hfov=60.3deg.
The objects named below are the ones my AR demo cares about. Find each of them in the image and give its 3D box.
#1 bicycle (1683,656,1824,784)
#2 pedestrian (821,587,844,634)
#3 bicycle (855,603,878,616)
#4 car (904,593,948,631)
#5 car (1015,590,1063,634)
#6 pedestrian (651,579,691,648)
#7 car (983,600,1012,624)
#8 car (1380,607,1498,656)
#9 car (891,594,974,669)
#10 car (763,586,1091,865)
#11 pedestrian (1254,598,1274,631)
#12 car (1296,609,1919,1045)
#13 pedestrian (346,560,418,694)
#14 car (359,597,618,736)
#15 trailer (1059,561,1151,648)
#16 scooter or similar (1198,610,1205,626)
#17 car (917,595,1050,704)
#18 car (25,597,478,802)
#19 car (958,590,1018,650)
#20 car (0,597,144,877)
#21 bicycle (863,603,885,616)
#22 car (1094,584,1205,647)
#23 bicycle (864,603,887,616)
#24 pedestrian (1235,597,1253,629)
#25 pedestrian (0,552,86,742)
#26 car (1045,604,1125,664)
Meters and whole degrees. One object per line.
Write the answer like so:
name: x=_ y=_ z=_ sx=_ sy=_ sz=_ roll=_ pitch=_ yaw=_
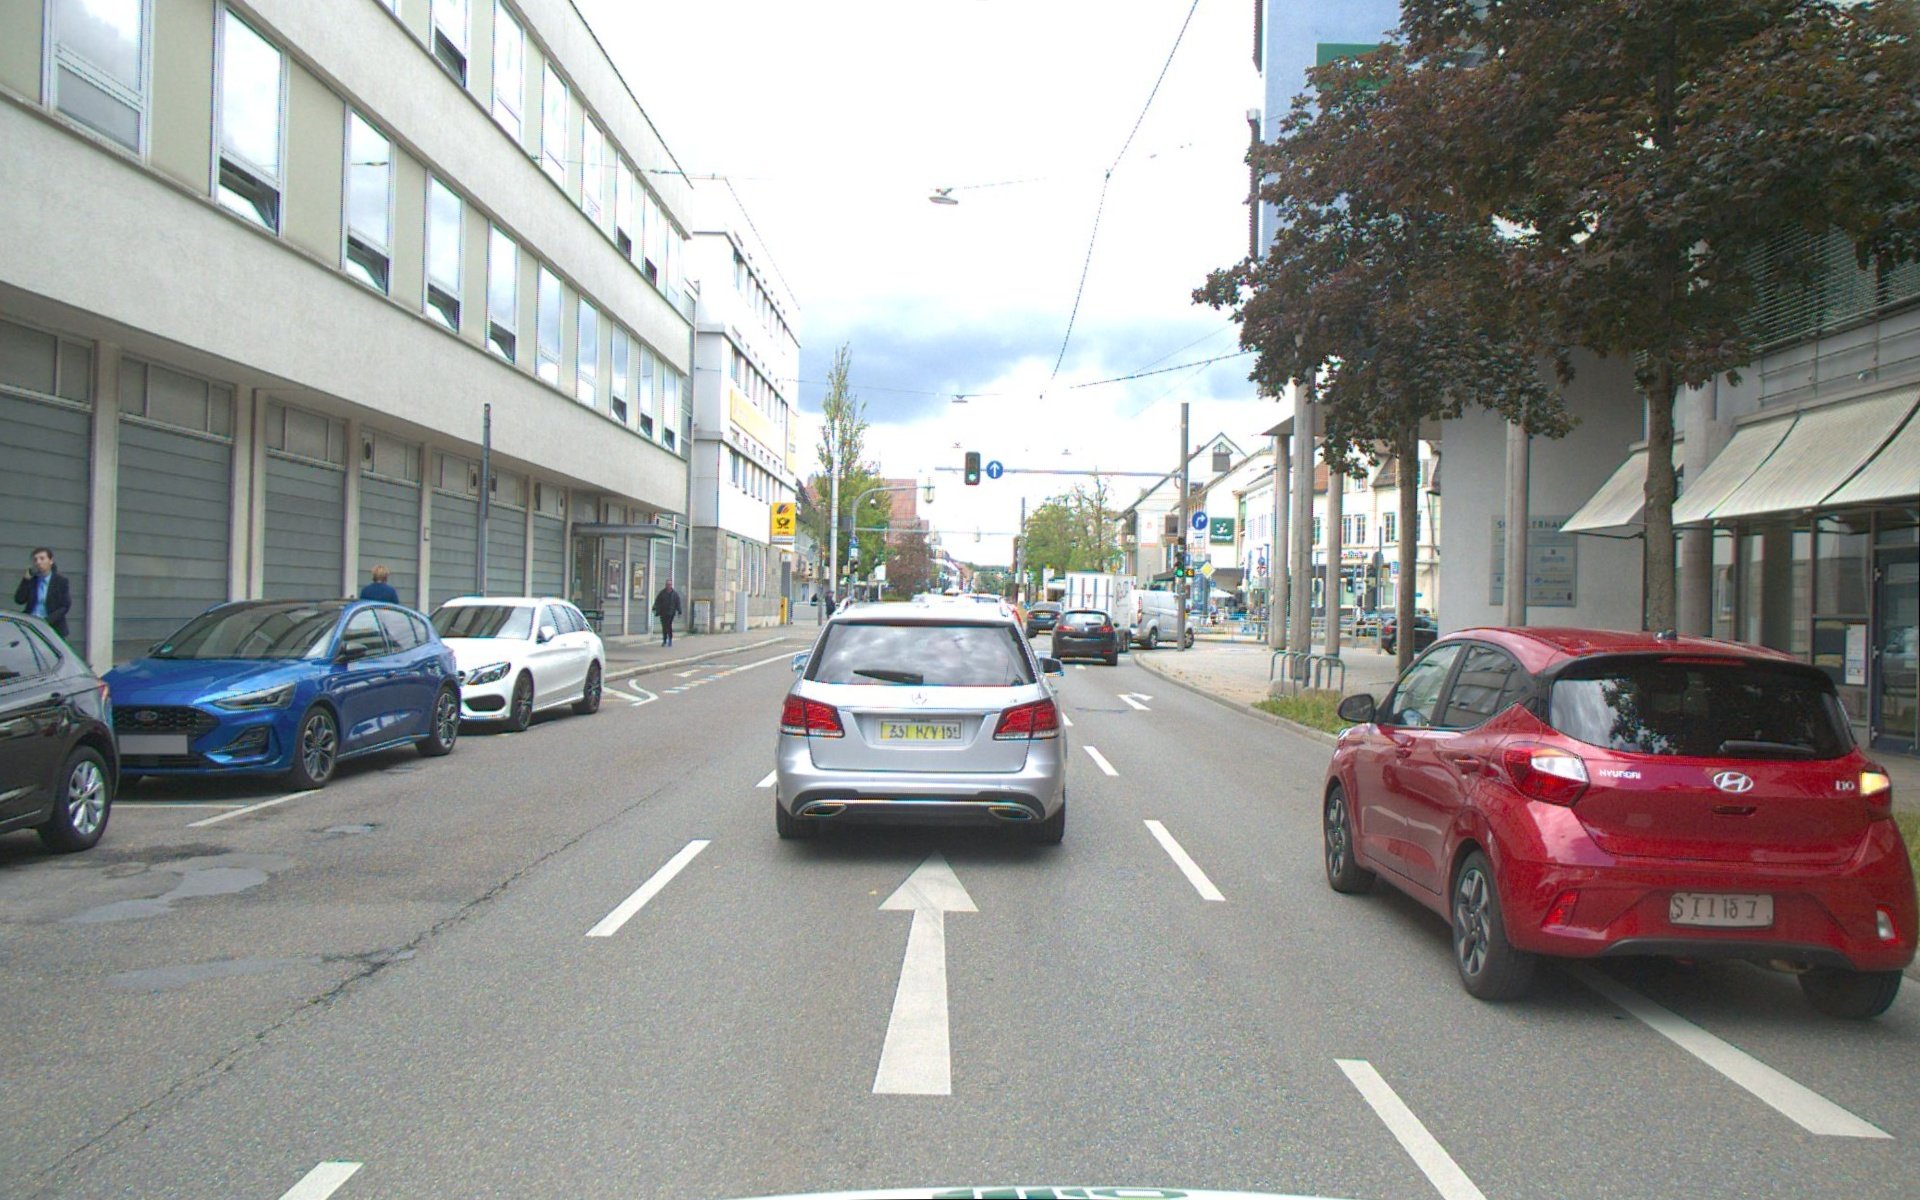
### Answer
bicycle: x=7.819 y=1.150 z=16.387 sx=0.353 sy=1.105 sz=2.027 roll=2 pitch=0 yaw=-1
pedestrian: x=-4.763 y=0.386 z=61.828 sx=0.634 sy=1.748 sz=0.783 roll=2 pitch=0 yaw=8
bicycle: x=-8.011 y=0.829 z=141.770 sx=1.902 sy=1.047 sz=0.529 roll=2 pitch=0 yaw=-9
car: x=-1.500 y=0.511 z=74.318 sx=1.739 sy=1.660 sz=4.768 roll=0 pitch=0 yaw=1
car: x=3.449 y=0.509 z=72.654 sx=1.791 sy=1.816 sz=3.999 roll=1 pitch=0 yaw=-1
pedestrian: x=-7.627 y=0.354 z=43.682 sx=0.844 sy=1.748 sz=1.031 roll=2 pitch=0 yaw=-2
car: x=2.386 y=0.746 z=106.292 sx=1.699 sy=1.435 sz=3.999 roll=1 pitch=0 yaw=-1
car: x=17.346 y=1.135 z=60.017 sx=3.707 sy=1.699 sz=1.930 roll=1 pitch=0 yaw=2
car: x=-0.612 y=0.645 z=36.275 sx=1.699 sy=1.534 sz=3.999 roll=1 pitch=0 yaw=-1
car: x=-0.232 y=0.700 z=11.310 sx=1.808 sy=1.534 sz=4.170 roll=1 pitch=0 yaw=-1
pedestrian: x=16.453 y=0.787 z=89.618 sx=0.777 sy=1.748 sz=0.644 roll=2 pitch=0 yaw=-26
car: x=2.917 y=0.841 z=8.005 sx=1.664 sy=1.477 sz=3.999 roll=3 pitch=0 yaw=0
pedestrian: x=-7.723 y=0.355 z=22.128 sx=0.577 sy=1.748 sz=1.055 roll=1 pitch=0 yaw=-2
car: x=-5.486 y=0.705 z=19.853 sx=1.635 sy=1.459 sz=4.554 roll=-1 pitch=0 yaw=2
trailer: x=4.809 y=0.178 z=54.227 sx=1.839 sy=2.658 sz=4.323 roll=3 pitch=0 yaw=20
scooter or similar: x=16.396 y=1.220 z=112.248 sx=0.266 sy=1.019 sz=1.028 roll=1 pitch=0 yaw=-3
car: x=0.438 y=0.711 z=25.697 sx=1.697 sy=1.534 sz=4.003 roll=1 pitch=0 yaw=6
car: x=-5.678 y=0.709 z=13.924 sx=1.777 sy=1.451 sz=4.266 roll=-1 pitch=0 yaw=3
car: x=0.829 y=0.600 z=51.588 sx=1.699 sy=1.790 sz=3.999 roll=1 pitch=0 yaw=-1
car: x=-5.807 y=0.720 z=8.204 sx=1.681 sy=1.450 sz=3.869 roll=-1 pitch=0 yaw=-2
bicycle: x=-7.544 y=0.857 z=145.091 sx=1.902 sy=1.047 sz=0.529 roll=2 pitch=0 yaw=-9
car: x=6.752 y=0.570 z=58.369 sx=1.845 sy=1.979 sz=4.892 roll=3 pitch=0 yaw=33
bicycle: x=-7.355 y=0.862 z=144.115 sx=1.902 sy=1.047 sz=0.529 roll=2 pitch=0 yaw=-9
pedestrian: x=15.450 y=0.723 z=89.997 sx=0.697 sy=1.748 sz=0.641 roll=1 pitch=0 yaw=-38
pedestrian: x=-8.704 y=0.435 z=15.570 sx=0.577 sy=1.748 sz=0.649 roll=1 pitch=0 yaw=-2
car: x=3.270 y=0.862 z=43.812 sx=1.699 sy=1.435 sz=3.999 roll=1 pitch=0 yaw=-1
